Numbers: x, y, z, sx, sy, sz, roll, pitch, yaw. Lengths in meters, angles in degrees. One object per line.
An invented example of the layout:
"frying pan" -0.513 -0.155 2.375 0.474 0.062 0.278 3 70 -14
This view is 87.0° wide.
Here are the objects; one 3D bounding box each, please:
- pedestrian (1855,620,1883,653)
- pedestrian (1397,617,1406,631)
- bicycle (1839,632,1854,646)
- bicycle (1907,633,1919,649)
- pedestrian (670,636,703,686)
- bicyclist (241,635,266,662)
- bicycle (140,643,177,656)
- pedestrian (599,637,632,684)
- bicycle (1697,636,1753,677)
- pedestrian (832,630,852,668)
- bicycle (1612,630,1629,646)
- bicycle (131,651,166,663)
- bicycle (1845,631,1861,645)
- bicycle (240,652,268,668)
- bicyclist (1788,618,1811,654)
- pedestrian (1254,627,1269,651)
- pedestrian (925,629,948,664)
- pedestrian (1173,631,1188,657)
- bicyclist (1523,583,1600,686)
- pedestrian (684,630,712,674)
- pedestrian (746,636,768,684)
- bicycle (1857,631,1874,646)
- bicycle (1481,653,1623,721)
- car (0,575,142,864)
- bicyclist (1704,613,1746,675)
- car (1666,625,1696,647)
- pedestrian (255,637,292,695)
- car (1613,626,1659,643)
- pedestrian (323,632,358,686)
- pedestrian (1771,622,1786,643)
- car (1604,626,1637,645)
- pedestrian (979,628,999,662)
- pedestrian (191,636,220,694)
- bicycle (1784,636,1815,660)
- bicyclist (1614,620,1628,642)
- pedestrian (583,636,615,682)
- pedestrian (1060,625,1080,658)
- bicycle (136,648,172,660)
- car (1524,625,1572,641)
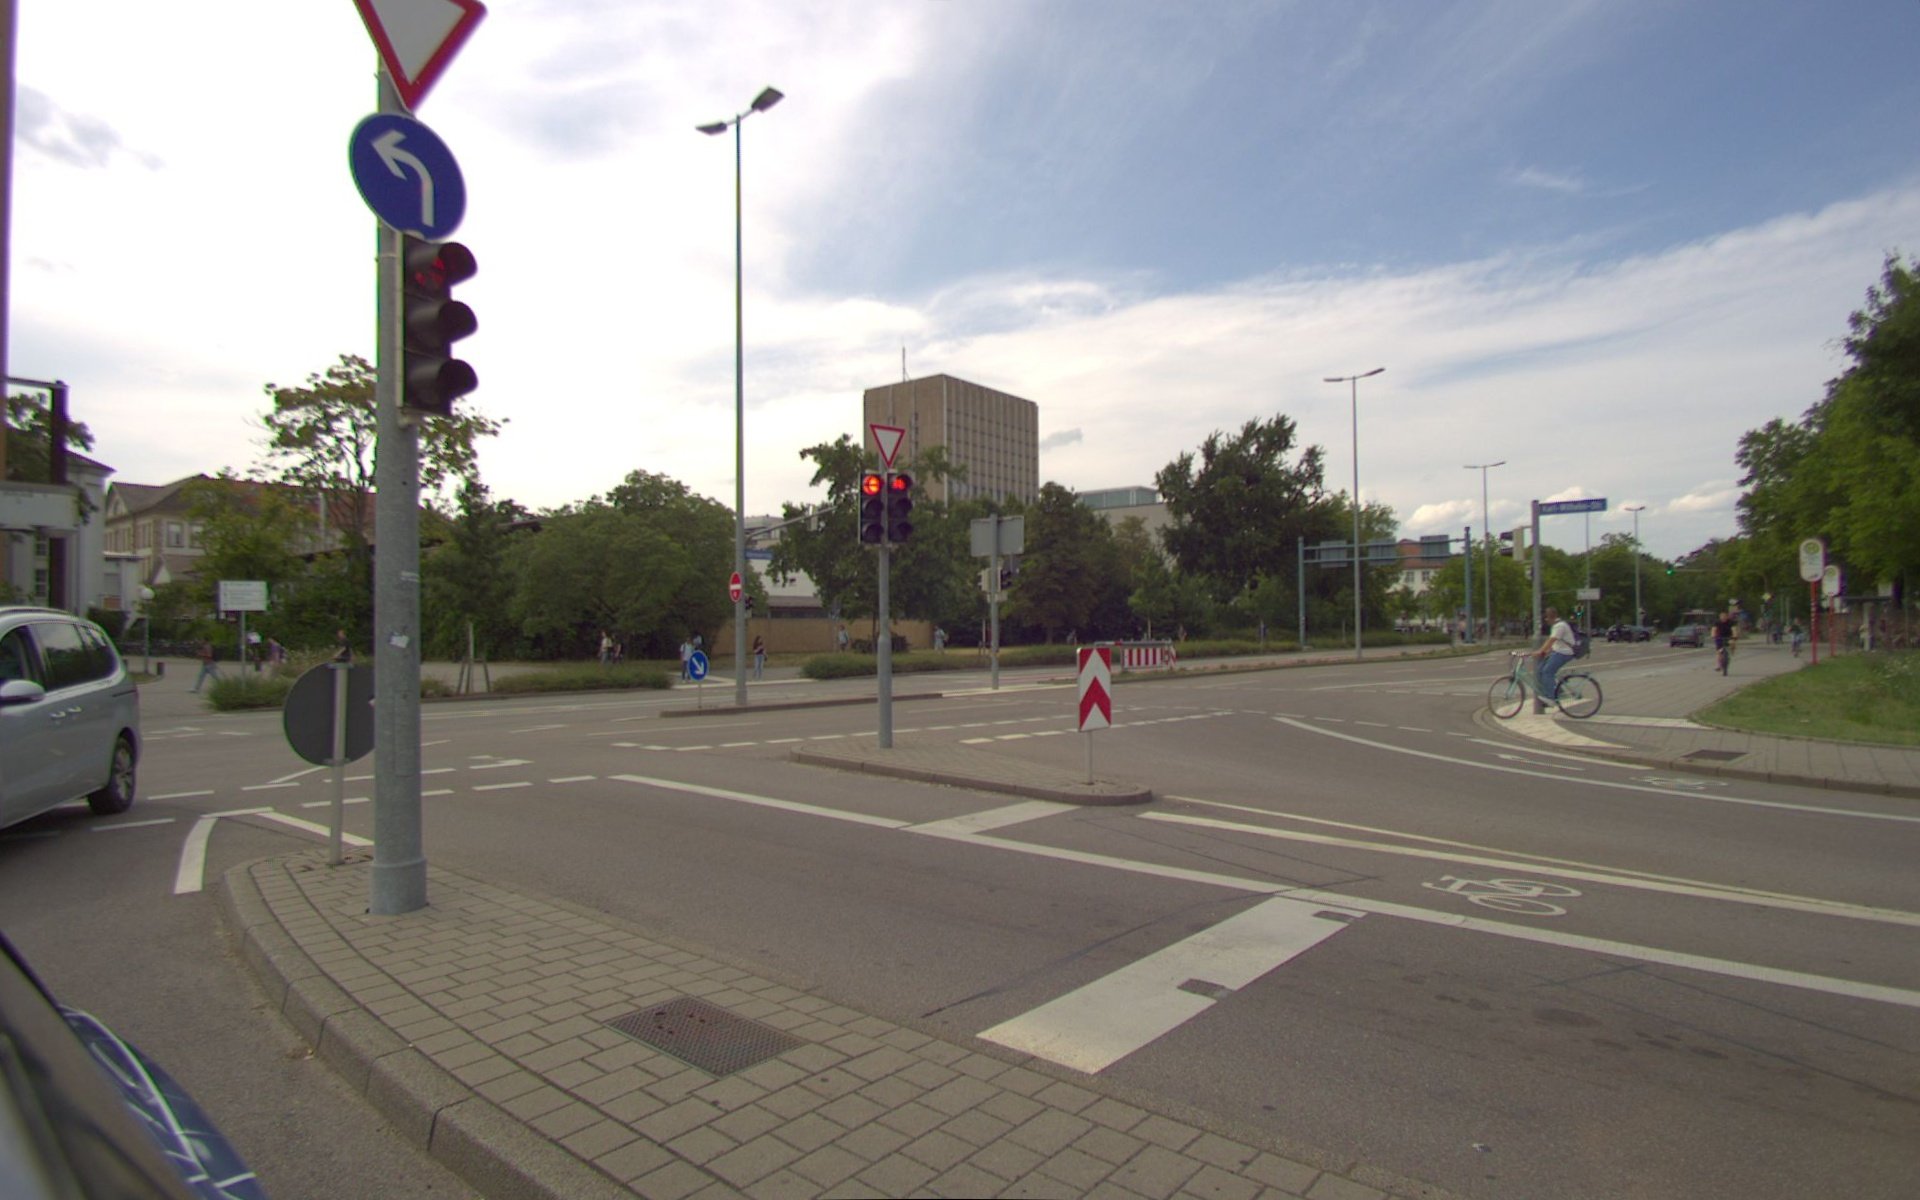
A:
"pedestrian" 46.630 1.884 51.914 0.749 1.634 0.661 -3 -3 19
"pedestrian" 53.809 2.937 123.295 0.769 1.724 0.685 -5 -4 42
"bicycle" 60.452 2.644 69.040 0.432 0.894 1.559 -6 -5 31
"bicycle" 52.613 2.227 55.299 0.657 0.894 1.564 -5 -4 22
"pedestrian" -9.701 2.165 35.886 0.827 1.724 0.801 0 -4 -42
"bicyclist" -35.406 2.446 50.739 1.013 1.287 0.828 -5 -4 43
"bicycle" -50.282 3.113 63.495 1.816 0.699 0.668 0 -4 -40
"pedestrian" -12.897 2.257 37.904 0.835 1.724 0.792 -4 -3 27
"bicycle" 19.845 1.461 26.242 1.939 0.943 0.507 -2 -1 -34
"pedestrian" -5.377 2.219 46.084 0.544 1.709 0.686 0 -1 39
"bicycle" 54.089 3.110 82.858 0.759 1.198 2.068 0 -2 44
"bicycle" -53.613 3.753 66.892 1.816 0.699 0.653 0 -4 -40
"bicycle" 59.494 2.510 67.431 0.432 0.894 1.559 -6 -5 31
"bicycle" -35.429 3.007 50.760 1.845 0.699 0.831 -5 -4 44
"bicyclist" 36.913 1.588 44.509 0.784 1.567 0.496 -2 -1 -34
"pedestrian" 22.754 2.937 76.363 0.714 1.724 0.685 -5 -4 42
"pedestrian" -1.166 2.308 50.567 0.841 1.724 0.686 -5 -4 39
"pedestrian" 14.827 2.949 68.079 0.714 1.724 0.685 -5 -4 42
"bicyclist" 9.515 0.542 16.030 0.786 1.567 0.580 -2 -1 -4
"pedestrian" -10.555 2.079 40.712 0.714 1.724 0.789 -5 -4 39
"pedestrian" -7.403 2.185 36.959 0.579 1.724 0.482 0 -4 -42
"bicycle" 57.440 2.437 64.199 0.432 0.894 1.559 -6 -5 31
"bicycle" 9.344 1.365 16.002 1.942 0.943 0.506 -2 -1 -4
"car" -7.035 0.793 6.545 1.794 1.747 4.542 -1 -3 -27
"bicyclist" 19.867 1.130 26.272 0.784 1.567 0.581 -2 -1 -34
"car" 53.335 2.645 74.847 1.697 1.491 4.362 -4 -3 36
"pedestrian" -21.031 2.025 30.993 0.788 1.724 0.840 1 -4 -44
"car" 62.802 3.202 94.103 1.768 1.501 4.123 0 0 6
"pedestrian" -20.311 1.928 33.168 0.788 1.724 0.840 1 -4 -44
"pedestrian" 65.023 2.579 80.400 0.753 1.634 0.657 -5 -4 37
"car" 56.282 3.026 86.235 1.790 1.501 4.072 0 0 42
"pedestrian" 1.514 2.353 53.070 0.714 1.724 0.685 -5 -4 42
"pedestrian" -22.690 1.955 30.426 0.624 1.724 0.674 1 -4 -44
"bicycle" 36.894 2.099 44.479 1.939 0.943 0.507 -2 -1 -34
"bicyclist" 54.081 2.539 82.819 1.070 1.724 0.779 3 -2 -45
"pedestrian" -13.683 2.235 38.362 0.835 1.724 0.792 -4 -3 27
"pedestrian" 5.918 2.258 54.635 0.683 1.724 0.735 1 -4 -44
"bicycle" -51.433 3.445 64.598 1.816 0.699 0.653 0 -4 -40
"car" 60.662 3.365 104.456 1.759 1.501 4.143 1 0 -17
